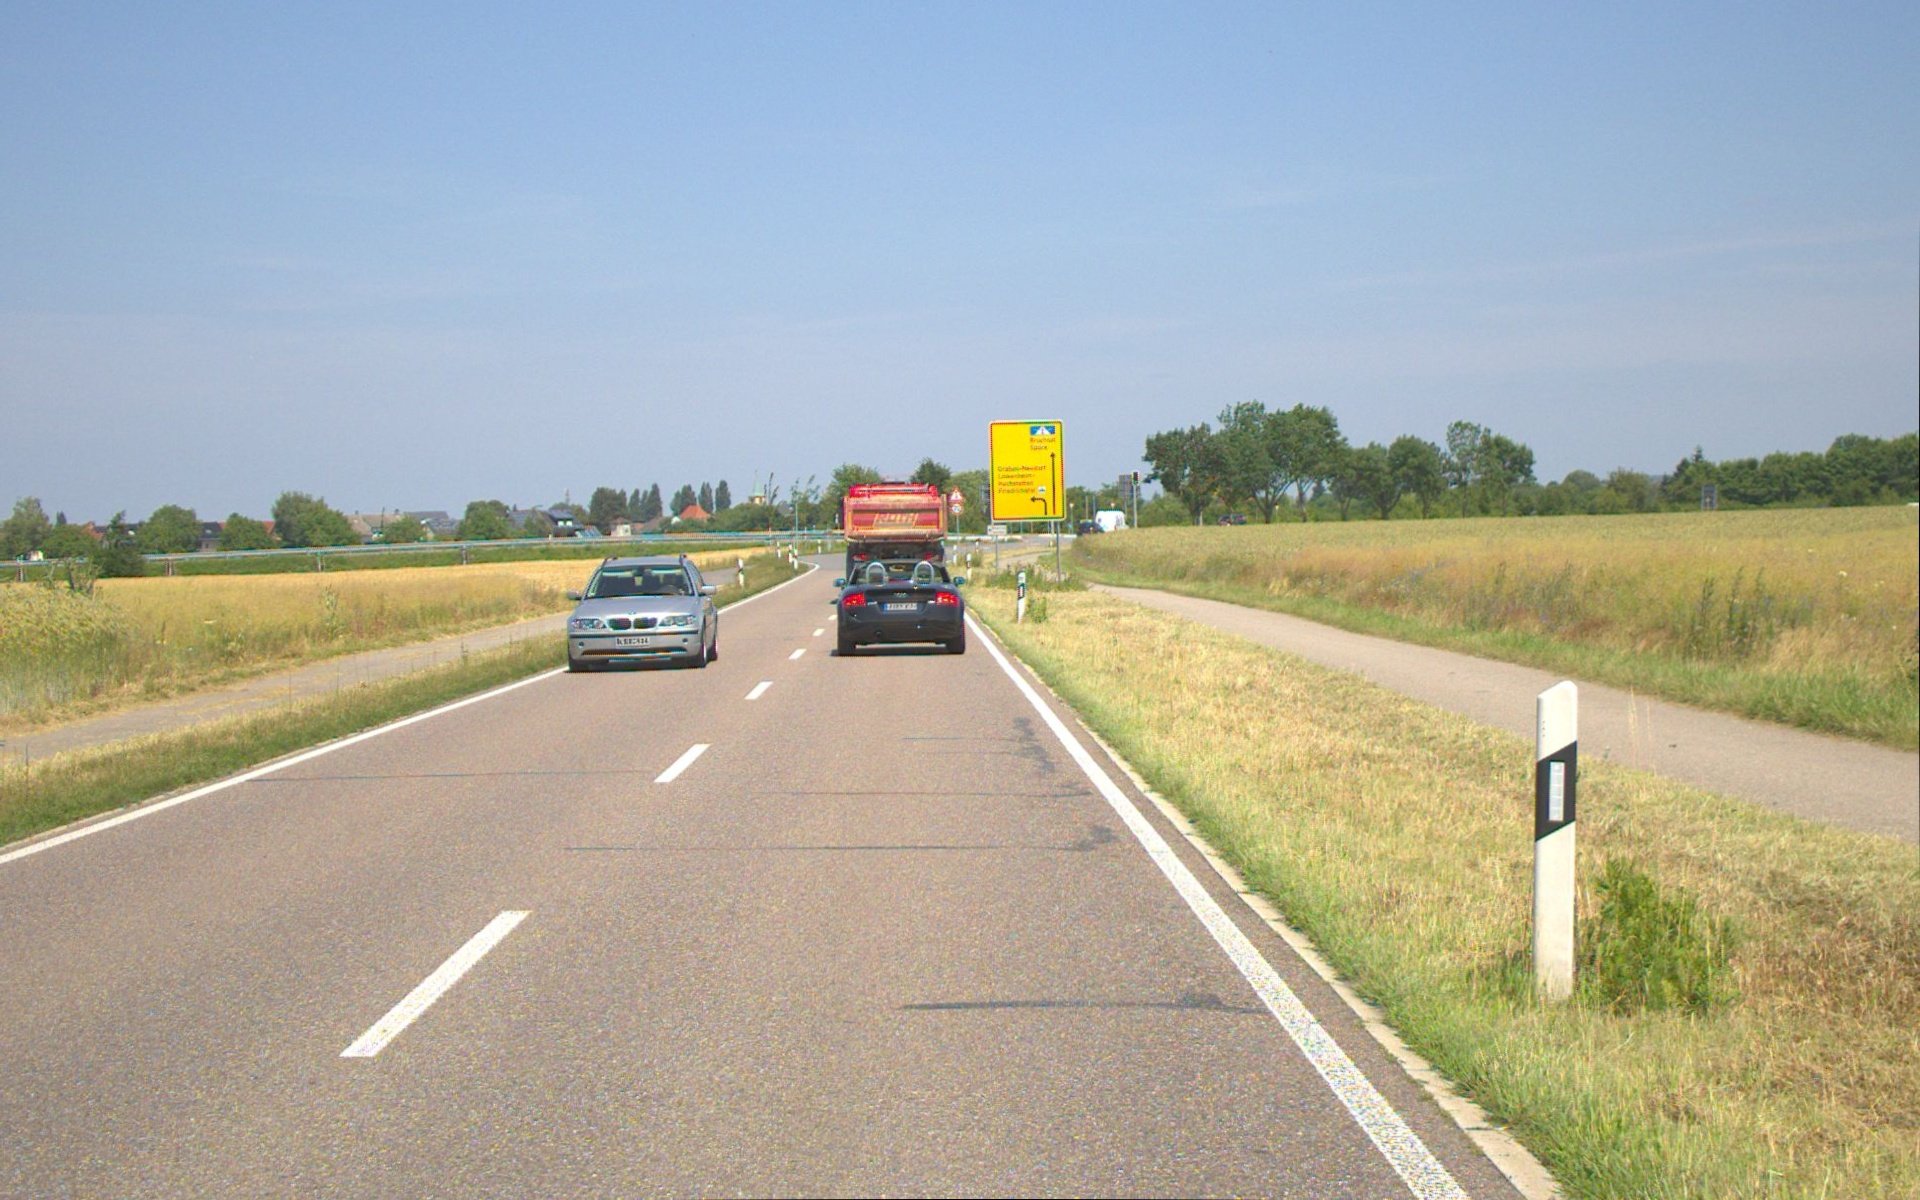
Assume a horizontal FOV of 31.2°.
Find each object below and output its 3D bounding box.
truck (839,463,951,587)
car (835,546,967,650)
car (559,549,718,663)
[{"bbox_3d":[-1.672,-1.898,88.925,2.714,3.042,8.165,-1,1,-1],"label":"truck"},{"bbox_3d":[-0.816,-0.040,47.624,1.747,1.371,3.679,0,1,-1],"label":"car"},{"bbox_3d":[-4.146,0.058,44.816,1.747,1.395,4.032,-1,1,-1],"label":"car"}]
